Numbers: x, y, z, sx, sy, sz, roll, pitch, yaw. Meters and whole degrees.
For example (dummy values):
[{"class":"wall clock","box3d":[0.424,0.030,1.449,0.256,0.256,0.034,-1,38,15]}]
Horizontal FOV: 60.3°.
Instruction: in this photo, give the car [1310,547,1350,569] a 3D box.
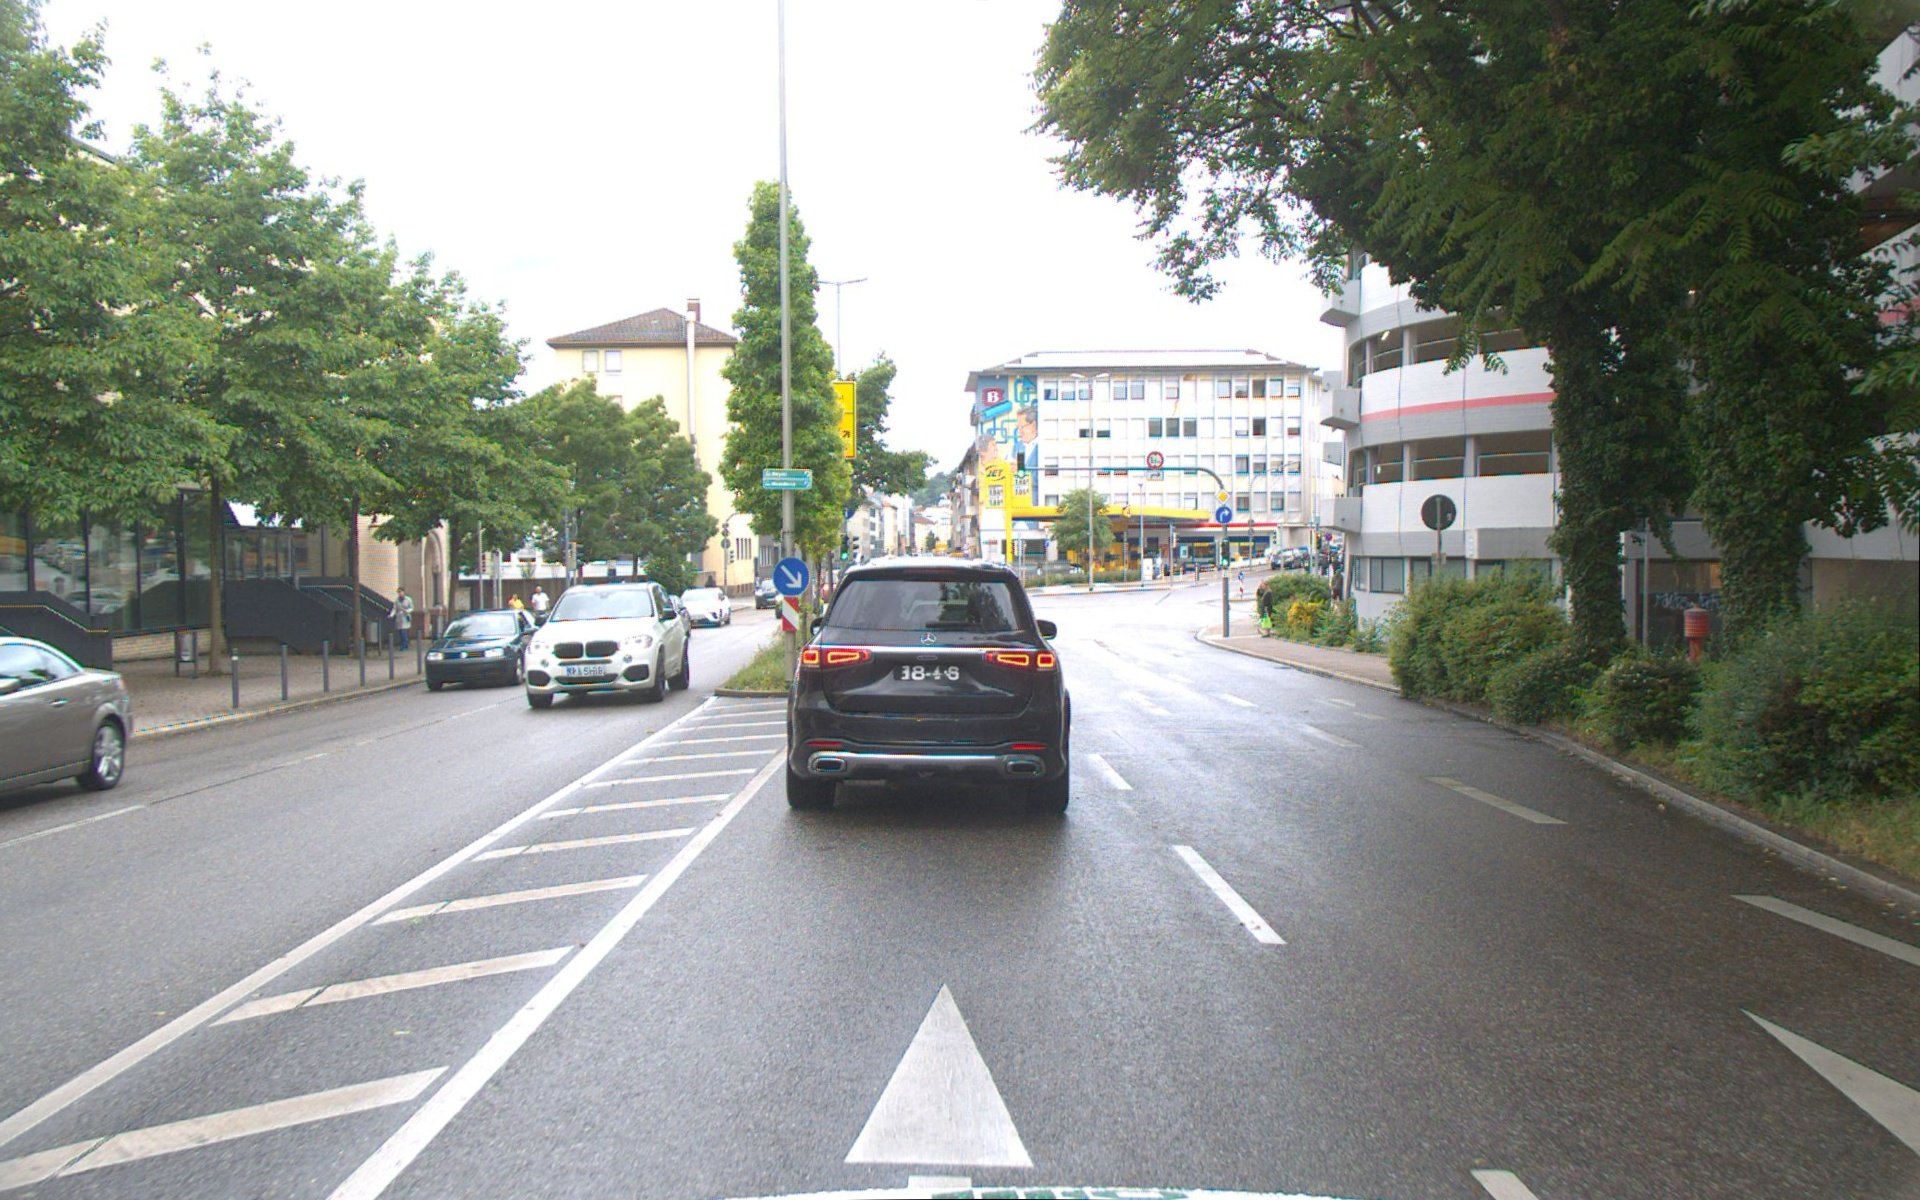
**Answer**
[{"class":"car","box3d":[30.191,-3.440,134.962,1.958,1.735,3.990,-1,1,33]}]

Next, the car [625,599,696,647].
[{"class":"car","box3d":[-9.644,0.710,53.477,1.698,1.418,4.197,-3,0,-3]}]

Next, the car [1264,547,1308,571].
[{"class":"car","box3d":[24.910,-3.118,126.408,1.958,1.735,3.990,-1,1,33]}]

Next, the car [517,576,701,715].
[{"class":"car","box3d":[-5.240,0.627,25.295,1.853,1.843,4.573,-3,0,-1]}]

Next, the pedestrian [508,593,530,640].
[{"class":"pedestrian","box3d":[-14.973,0.559,56.197,0.430,1.560,0.545,-1,1,25]}]

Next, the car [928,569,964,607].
[{"class":"car","box3d":[-0.809,-0.671,93.372,1.953,2.049,3.999,1,-1,-1]}]

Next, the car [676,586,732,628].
[{"class":"car","box3d":[-10.026,0.260,65.095,1.698,1.494,4.229,-3,1,-3]}]

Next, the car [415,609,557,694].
[{"class":"car","box3d":[-9.086,0.945,32.003,1.710,1.437,3.969,-3,0,-3]}]

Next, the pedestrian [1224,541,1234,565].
[{"class":"pedestrian","box3d":[20.257,-3.543,124.459,0.515,1.757,0.688,0,1,26]}]

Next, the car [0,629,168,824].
[{"class":"car","box3d":[-8.215,1.029,13.252,1.793,1.412,4.227,-3,0,-3]}]

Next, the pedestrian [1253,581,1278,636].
[{"class":"pedestrian","box3d":[9.778,0.270,52.986,0.634,1.740,0.470,0,-1,35]}]

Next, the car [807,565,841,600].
[{"class":"car","box3d":[-7.908,-1.017,96.445,1.757,1.886,4.790,-3,0,-3]}]

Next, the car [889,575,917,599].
[{"class":"car","box3d":[-4.024,-0.897,116.940,1.953,1.642,4.188,1,-1,-2]}]

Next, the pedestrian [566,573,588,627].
[{"class":"pedestrian","box3d":[-12.711,-0.001,54.956,0.675,1.788,0.716,-1,1,-12]}]

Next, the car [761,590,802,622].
[{"class":"car","box3d":[-9.668,0.304,89.960,1.850,1.614,4.535,-3,0,-2]}]

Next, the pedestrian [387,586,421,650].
[{"class":"pedestrian","box3d":[-15.037,0.475,44.767,0.630,1.695,1.017,1,-1,-7]}]

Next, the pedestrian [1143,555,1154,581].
[{"class":"pedestrian","box3d":[12.581,-2.153,110.519,0.516,1.757,0.688,0,1,29]}]

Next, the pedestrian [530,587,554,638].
[{"class":"pedestrian","box3d":[-13.986,0.400,55.411,0.676,1.685,0.612,-1,1,-8]}]

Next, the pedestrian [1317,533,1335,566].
[{"class":"pedestrian","box3d":[24.009,-3.311,108.399,0.838,2.165,0.947,-1,1,-7]}]

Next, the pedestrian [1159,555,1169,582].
[{"class":"pedestrian","box3d":[13.298,-2.064,107.924,0.560,1.727,0.631,1,-1,0]}]

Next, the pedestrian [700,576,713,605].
[{"class":"pedestrian","box3d":[-15.189,-0.570,99.075,0.635,1.757,0.628,-1,1,-5]}]

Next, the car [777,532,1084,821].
[{"class":"car","box3d":[-0.217,0.513,12.703,1.953,1.832,3.999,1,-1,-1]}]

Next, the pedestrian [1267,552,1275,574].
[{"class":"pedestrian","box3d":[24.278,-2.895,129.214,0.474,1.669,0.438,1,-1,28]}]

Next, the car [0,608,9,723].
[{"class":"car","box3d":[-15.146,0.848,21.746,4.090,1.574,2.000,1,-1,1]}]

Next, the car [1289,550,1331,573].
[{"class":"car","box3d":[27.712,-3.024,130.715,1.958,1.735,3.990,-1,1,33]}]

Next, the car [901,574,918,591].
[{"class":"car","box3d":[-6.357,-2.157,206.712,1.953,2.049,4.000,1,-1,0]}]

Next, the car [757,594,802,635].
[{"class":"car","box3d":[-7.872,0.606,72.421,1.698,1.654,4.229,-3,1,-3]}]

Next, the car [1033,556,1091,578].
[{"class":"car","box3d":[7.141,-2.309,116.119,1.724,1.400,3.935,-2,1,-44]}]

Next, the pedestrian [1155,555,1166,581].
[{"class":"pedestrian","box3d":[13.553,-2.133,111.667,0.515,1.757,0.688,0,1,26]}]
